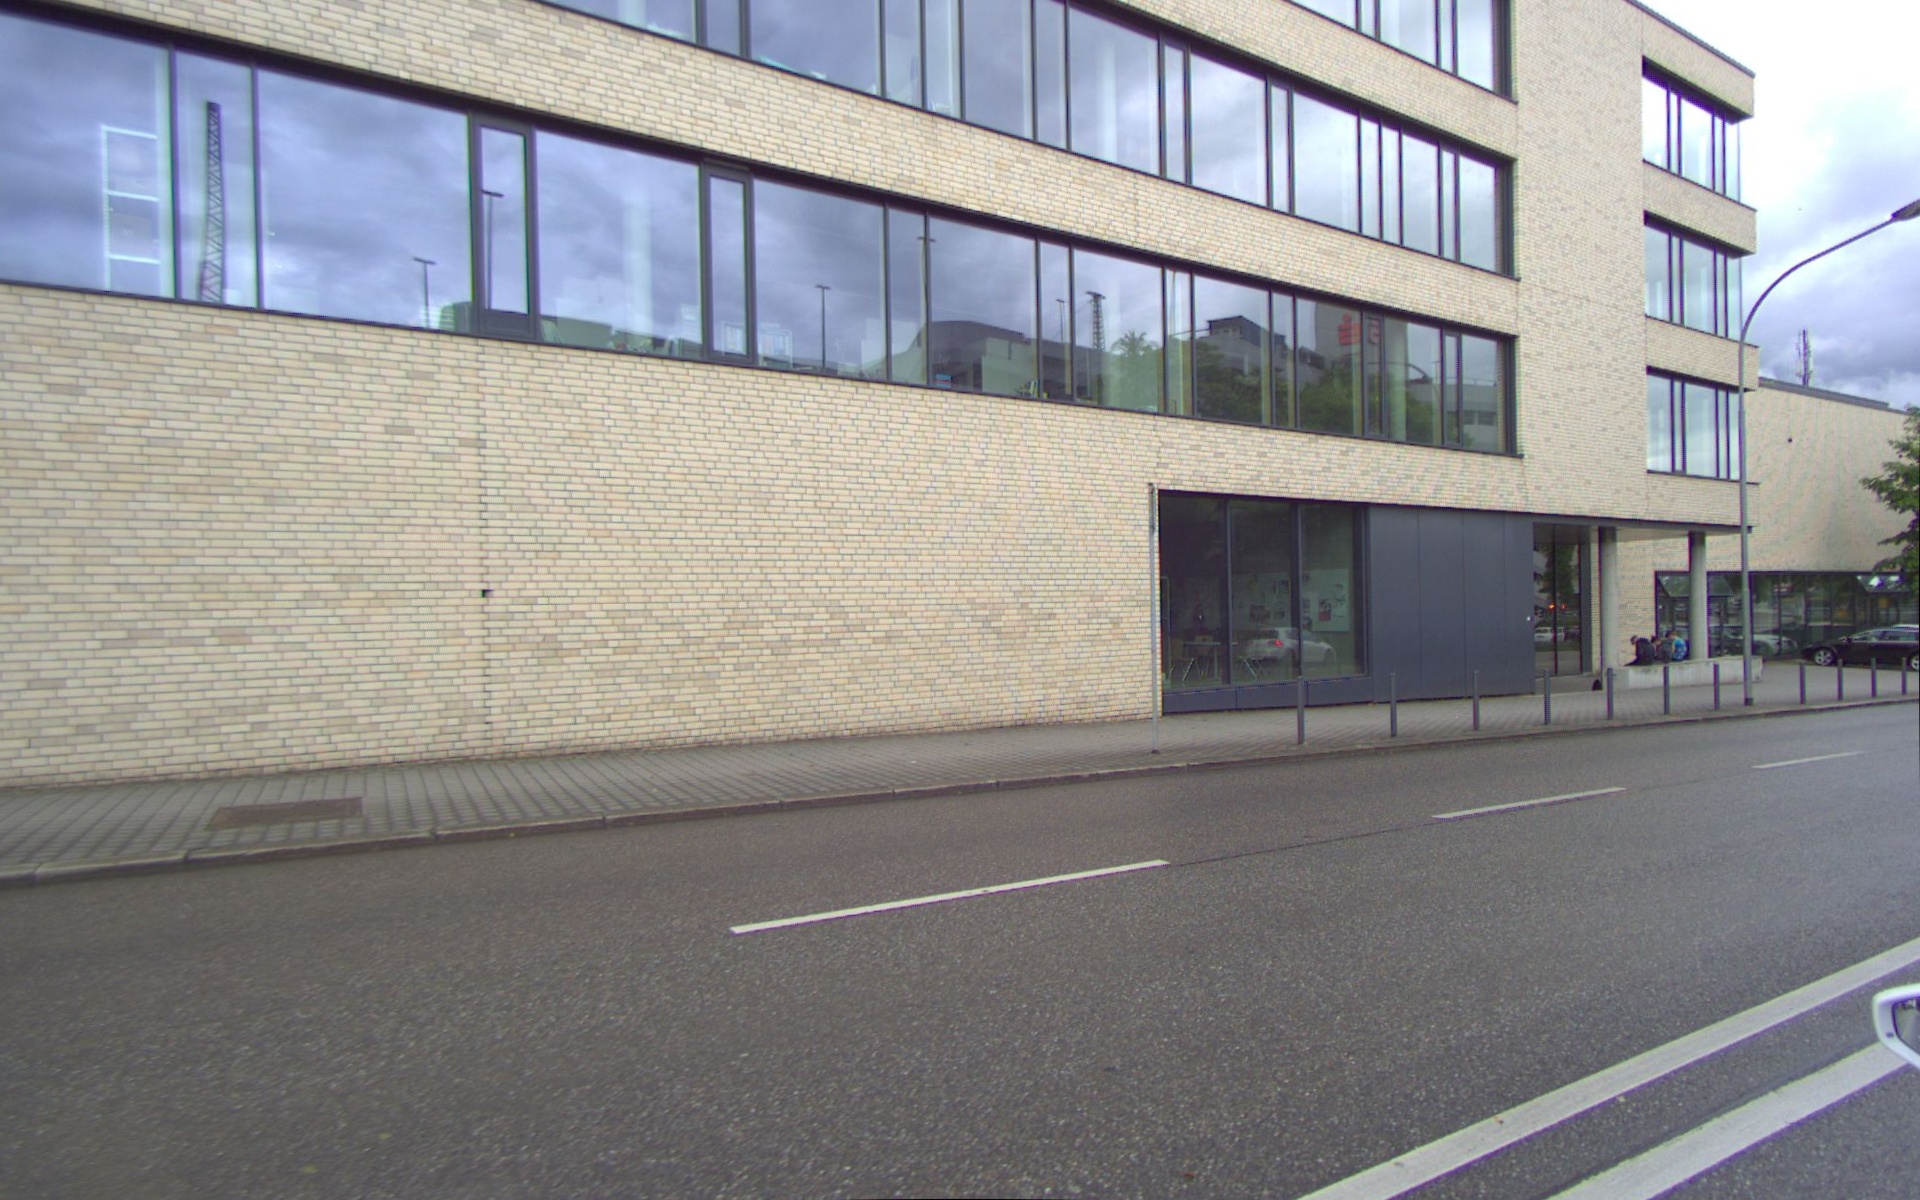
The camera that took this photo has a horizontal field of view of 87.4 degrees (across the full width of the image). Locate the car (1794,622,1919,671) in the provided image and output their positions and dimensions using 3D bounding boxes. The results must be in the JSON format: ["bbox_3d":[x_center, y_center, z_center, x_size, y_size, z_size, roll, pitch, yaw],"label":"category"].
[{"bbox_3d":[33.022,1.643,36.008,1.980,1.608,4.439,1,0,-35],"label":"car"}]

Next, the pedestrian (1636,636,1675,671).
[{"bbox_3d":[17.978,1.377,25.966,0.718,0.856,0.584,2,-1,-29],"label":"pedestrian"}]

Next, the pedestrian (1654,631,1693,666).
[{"bbox_3d":[18.928,1.277,26.644,0.518,0.897,0.678,2,0,-29],"label":"pedestrian"}]

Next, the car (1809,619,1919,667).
[{"bbox_3d":[34.682,1.575,37.375,1.979,1.595,4.389,-1,1,-34],"label":"car"}]

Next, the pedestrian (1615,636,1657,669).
[{"bbox_3d":[17.185,1.329,25.525,0.751,0.796,0.595,2,0,-29],"label":"pedestrian"}]
